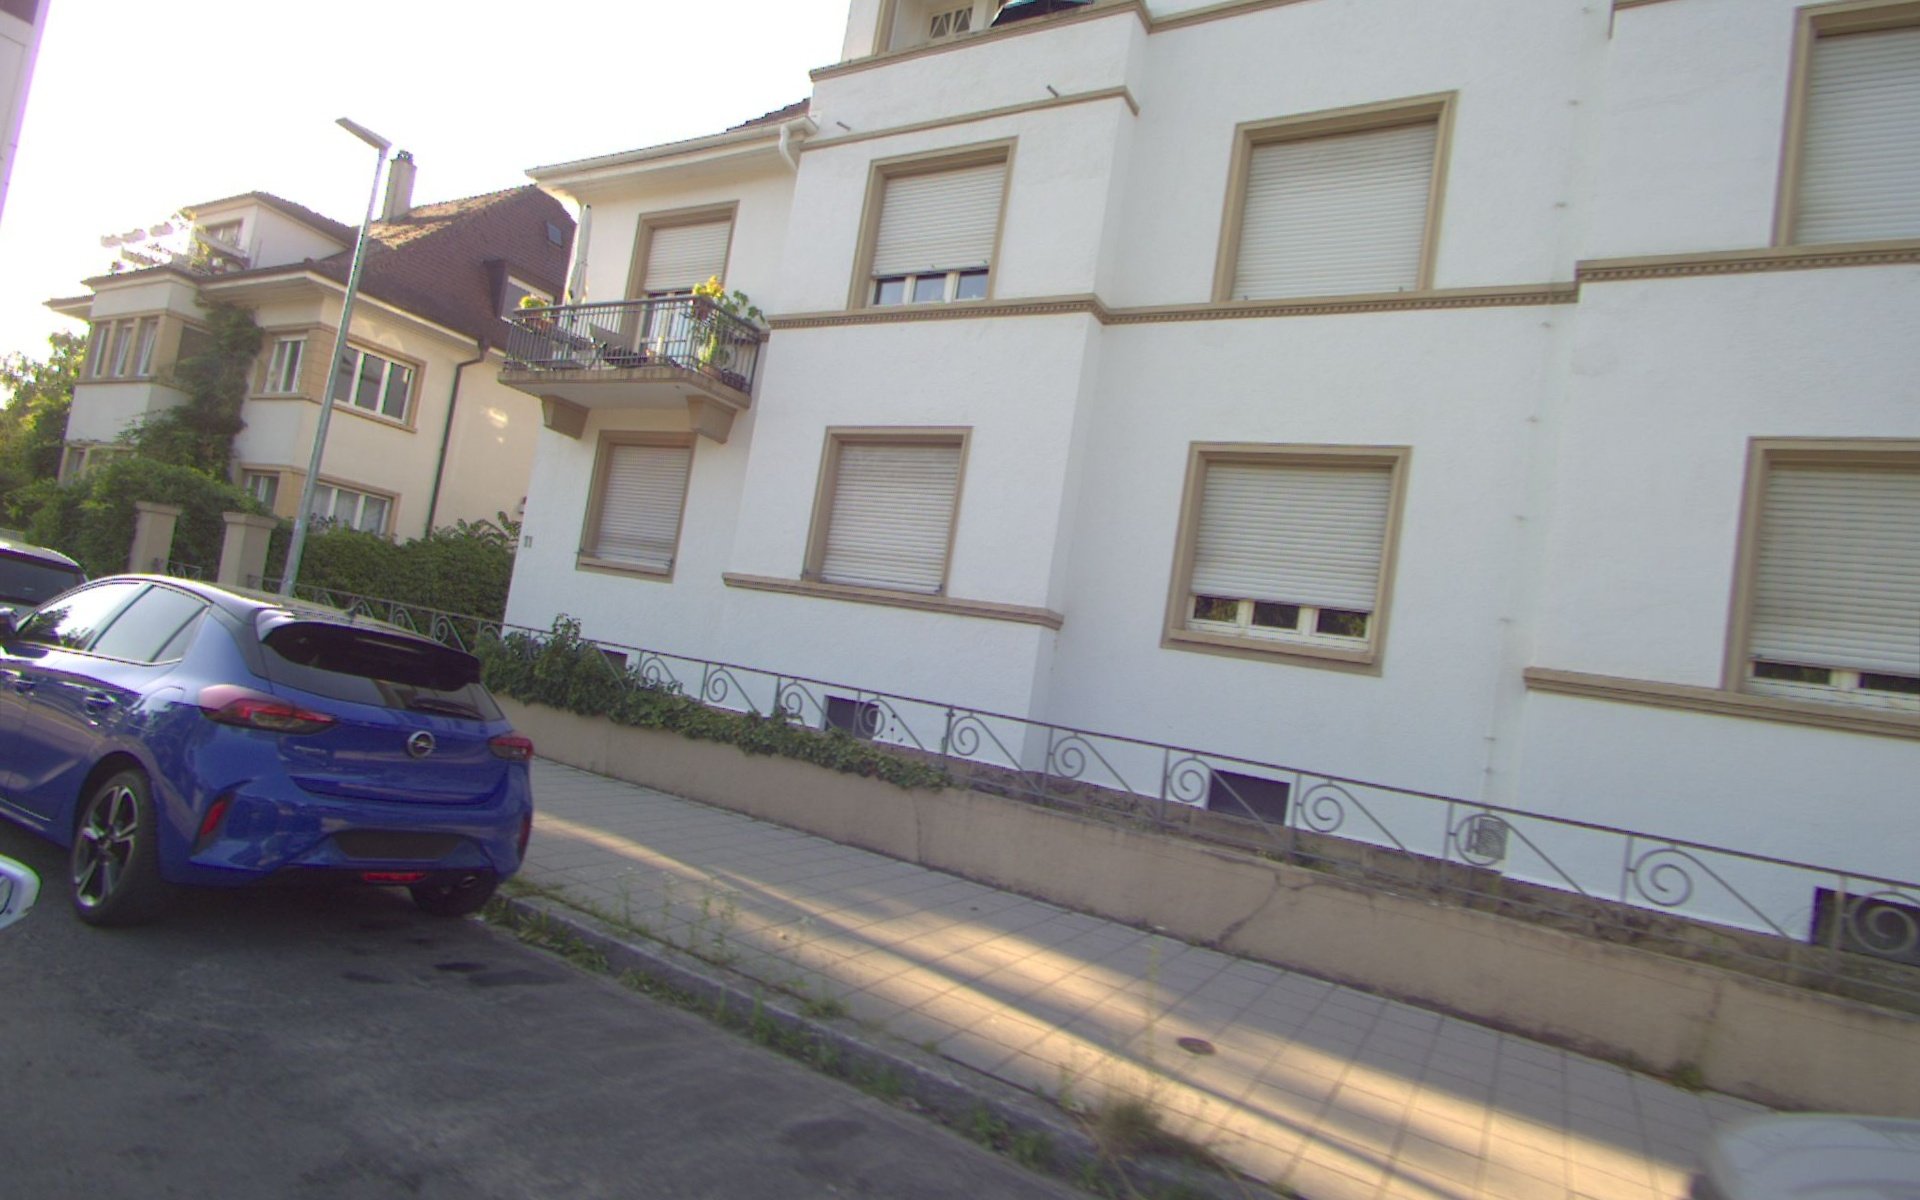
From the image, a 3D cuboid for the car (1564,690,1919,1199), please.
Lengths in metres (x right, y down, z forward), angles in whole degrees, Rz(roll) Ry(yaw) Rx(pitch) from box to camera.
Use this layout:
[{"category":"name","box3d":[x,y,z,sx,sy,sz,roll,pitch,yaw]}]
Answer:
[{"category":"car","box3d":[3.252,1.339,0.926,4.507,1.660,1.813,6,-11,30]}]

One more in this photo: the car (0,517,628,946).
[{"category":"car","box3d":[-4.102,0.565,5.467,4.231,1.444,1.776,6,-12,30]}]

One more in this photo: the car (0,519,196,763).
[{"category":"car","box3d":[-8.503,0.008,8.179,4.490,1.571,1.923,8,-9,32]}]
